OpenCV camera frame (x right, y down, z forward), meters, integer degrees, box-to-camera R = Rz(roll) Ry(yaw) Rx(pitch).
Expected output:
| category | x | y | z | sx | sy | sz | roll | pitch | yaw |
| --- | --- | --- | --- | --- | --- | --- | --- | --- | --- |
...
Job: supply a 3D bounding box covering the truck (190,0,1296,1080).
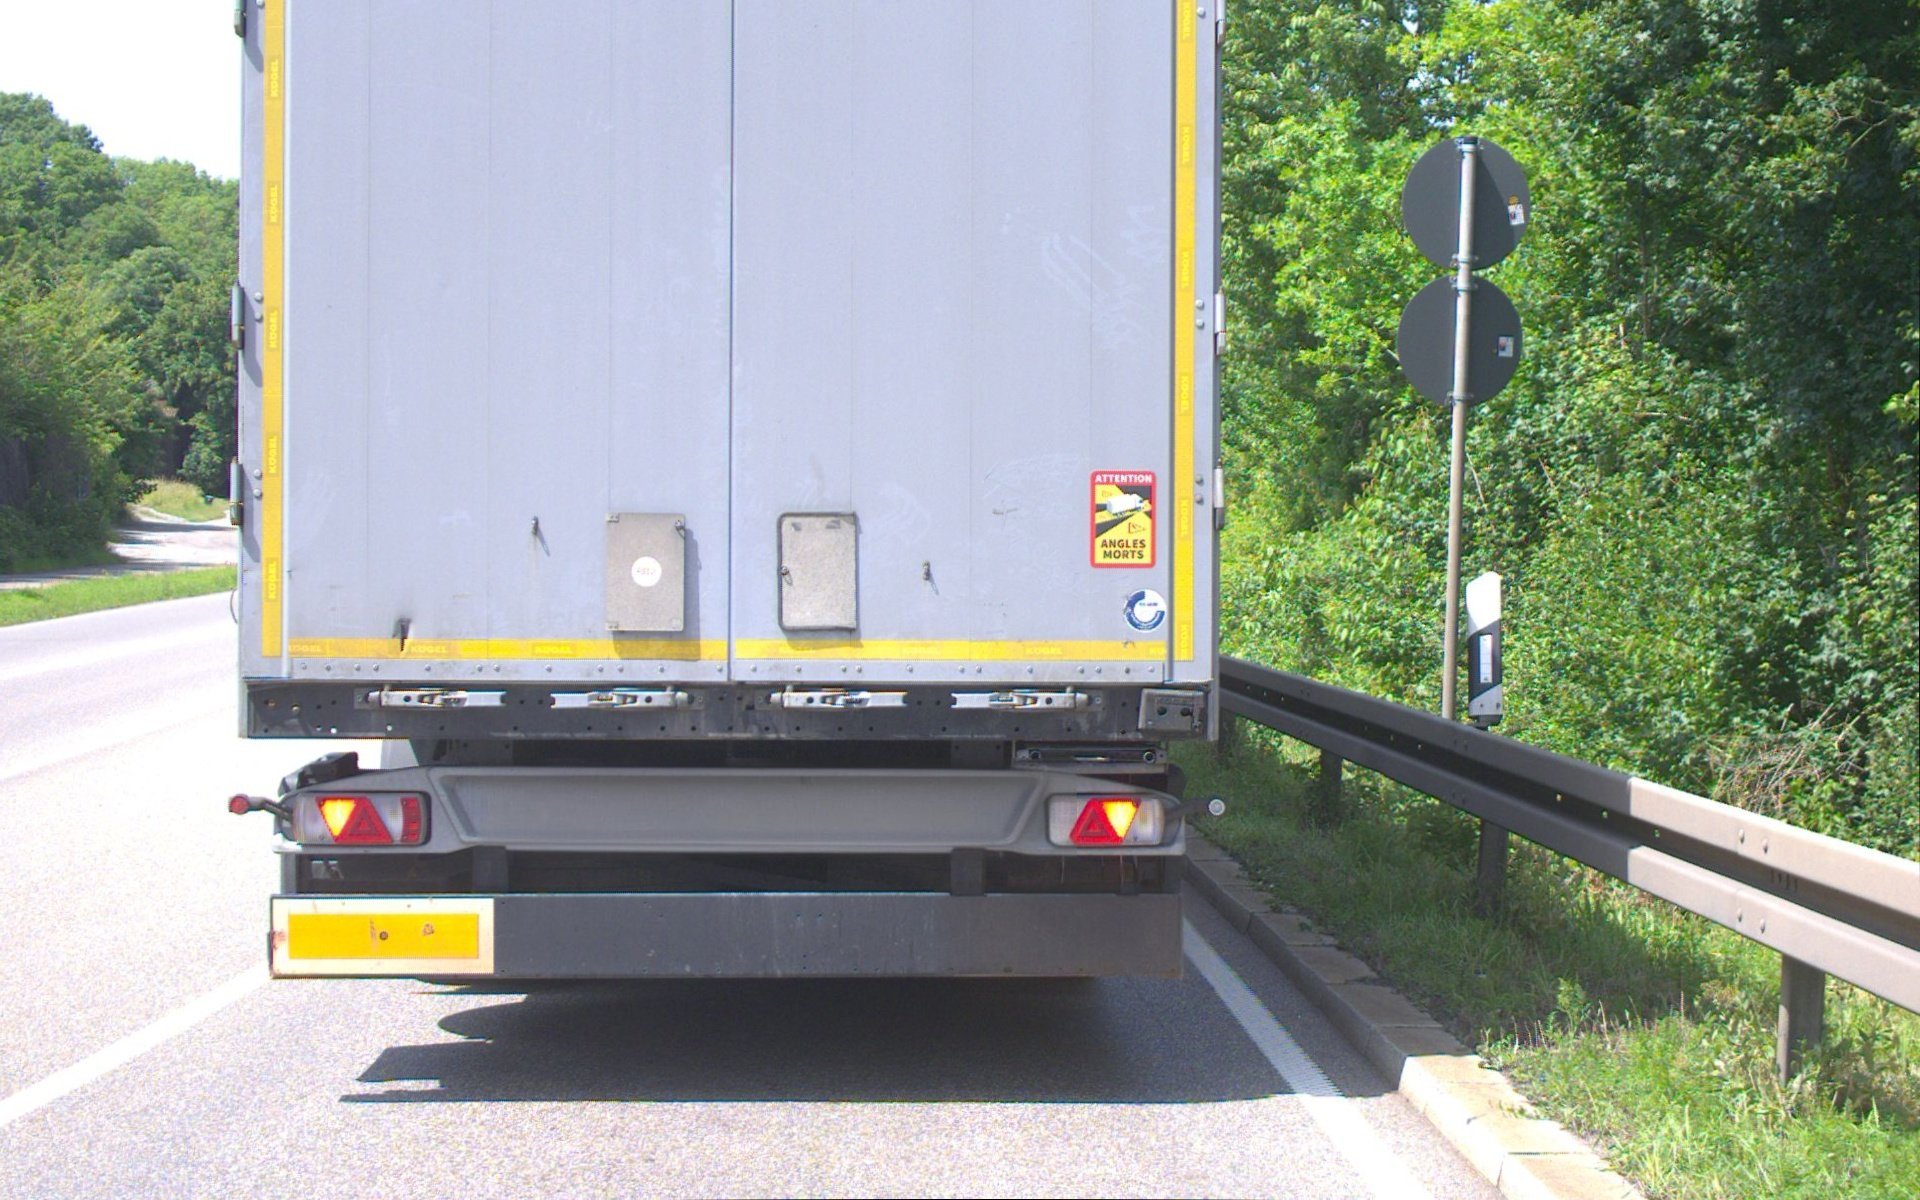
| category | x | y | z | sx | sy | sz | roll | pitch | yaw |
| --- | --- | --- | --- | --- | --- | --- | --- | --- | --- |
| truck | -0.686 | -0.928 | 14.579 | 2.757 | 4.016 | 11.925 | 0 | 1 | -1 |
